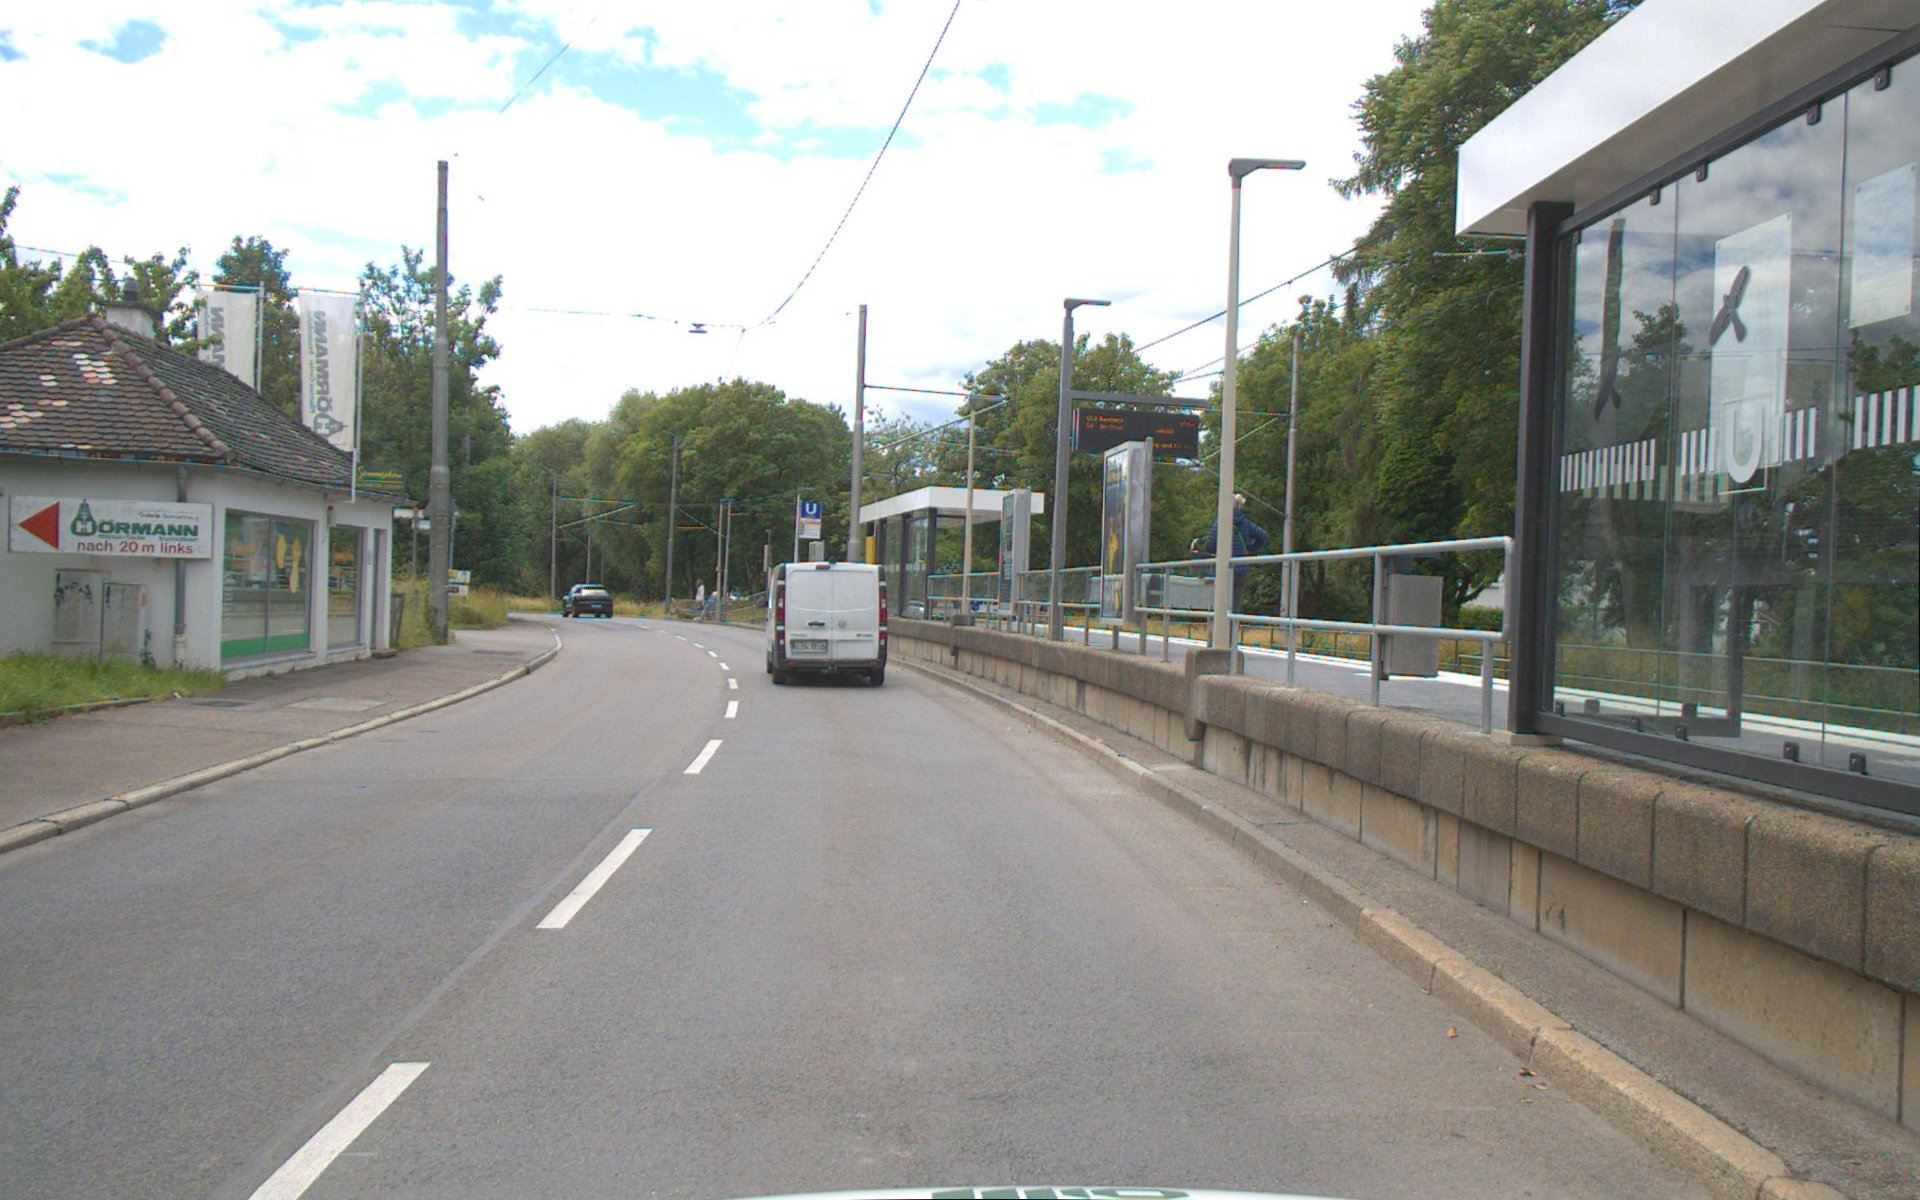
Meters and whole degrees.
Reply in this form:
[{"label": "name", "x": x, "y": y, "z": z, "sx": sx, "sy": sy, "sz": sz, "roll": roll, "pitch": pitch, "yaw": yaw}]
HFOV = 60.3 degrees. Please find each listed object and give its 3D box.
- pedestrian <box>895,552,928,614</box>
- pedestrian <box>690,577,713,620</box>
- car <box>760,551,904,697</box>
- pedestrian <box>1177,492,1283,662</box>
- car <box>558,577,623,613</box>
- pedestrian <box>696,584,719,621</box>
[{"label": "pedestrian", "x": -1.153, "y": -0.412, "z": 39.064, "sx": 0.627, "sy": 1.429, "sz": 0.762, "roll": 1, "pitch": 1, "yaw": -12}, {"label": "pedestrian", "x": -11.265, "y": -0.056, "z": 71.967, "sx": 0.753, "sy": 1.826, "sz": 0.622, "roll": 2, "pitch": 0, "yaw": -38}, {"label": "car", "x": -2.299, "y": 0.356, "z": 28.277, "sx": 2.077, "sy": 2.171, "sz": 5.431, "roll": 3, "pitch": 0, "yaw": -8}, {"label": "pedestrian", "x": 2.818, "y": -0.235, "z": 17.328, "sx": 0.868, "sy": 1.700, "sz": 0.909, "roll": 2, "pitch": 0, "yaw": -3}, {"label": "car", "x": -18.260, "y": -0.275, "z": 81.651, "sx": 2.324, "sy": 1.591, "sz": 4.341, "roll": 4, "pitch": -1, "yaw": -23}, {"label": "pedestrian", "x": -10.768, "y": 0.106, "z": 70.592, "sx": 0.753, "sy": 1.518, "sz": 0.622, "roll": 2, "pitch": 0, "yaw": -38}]
